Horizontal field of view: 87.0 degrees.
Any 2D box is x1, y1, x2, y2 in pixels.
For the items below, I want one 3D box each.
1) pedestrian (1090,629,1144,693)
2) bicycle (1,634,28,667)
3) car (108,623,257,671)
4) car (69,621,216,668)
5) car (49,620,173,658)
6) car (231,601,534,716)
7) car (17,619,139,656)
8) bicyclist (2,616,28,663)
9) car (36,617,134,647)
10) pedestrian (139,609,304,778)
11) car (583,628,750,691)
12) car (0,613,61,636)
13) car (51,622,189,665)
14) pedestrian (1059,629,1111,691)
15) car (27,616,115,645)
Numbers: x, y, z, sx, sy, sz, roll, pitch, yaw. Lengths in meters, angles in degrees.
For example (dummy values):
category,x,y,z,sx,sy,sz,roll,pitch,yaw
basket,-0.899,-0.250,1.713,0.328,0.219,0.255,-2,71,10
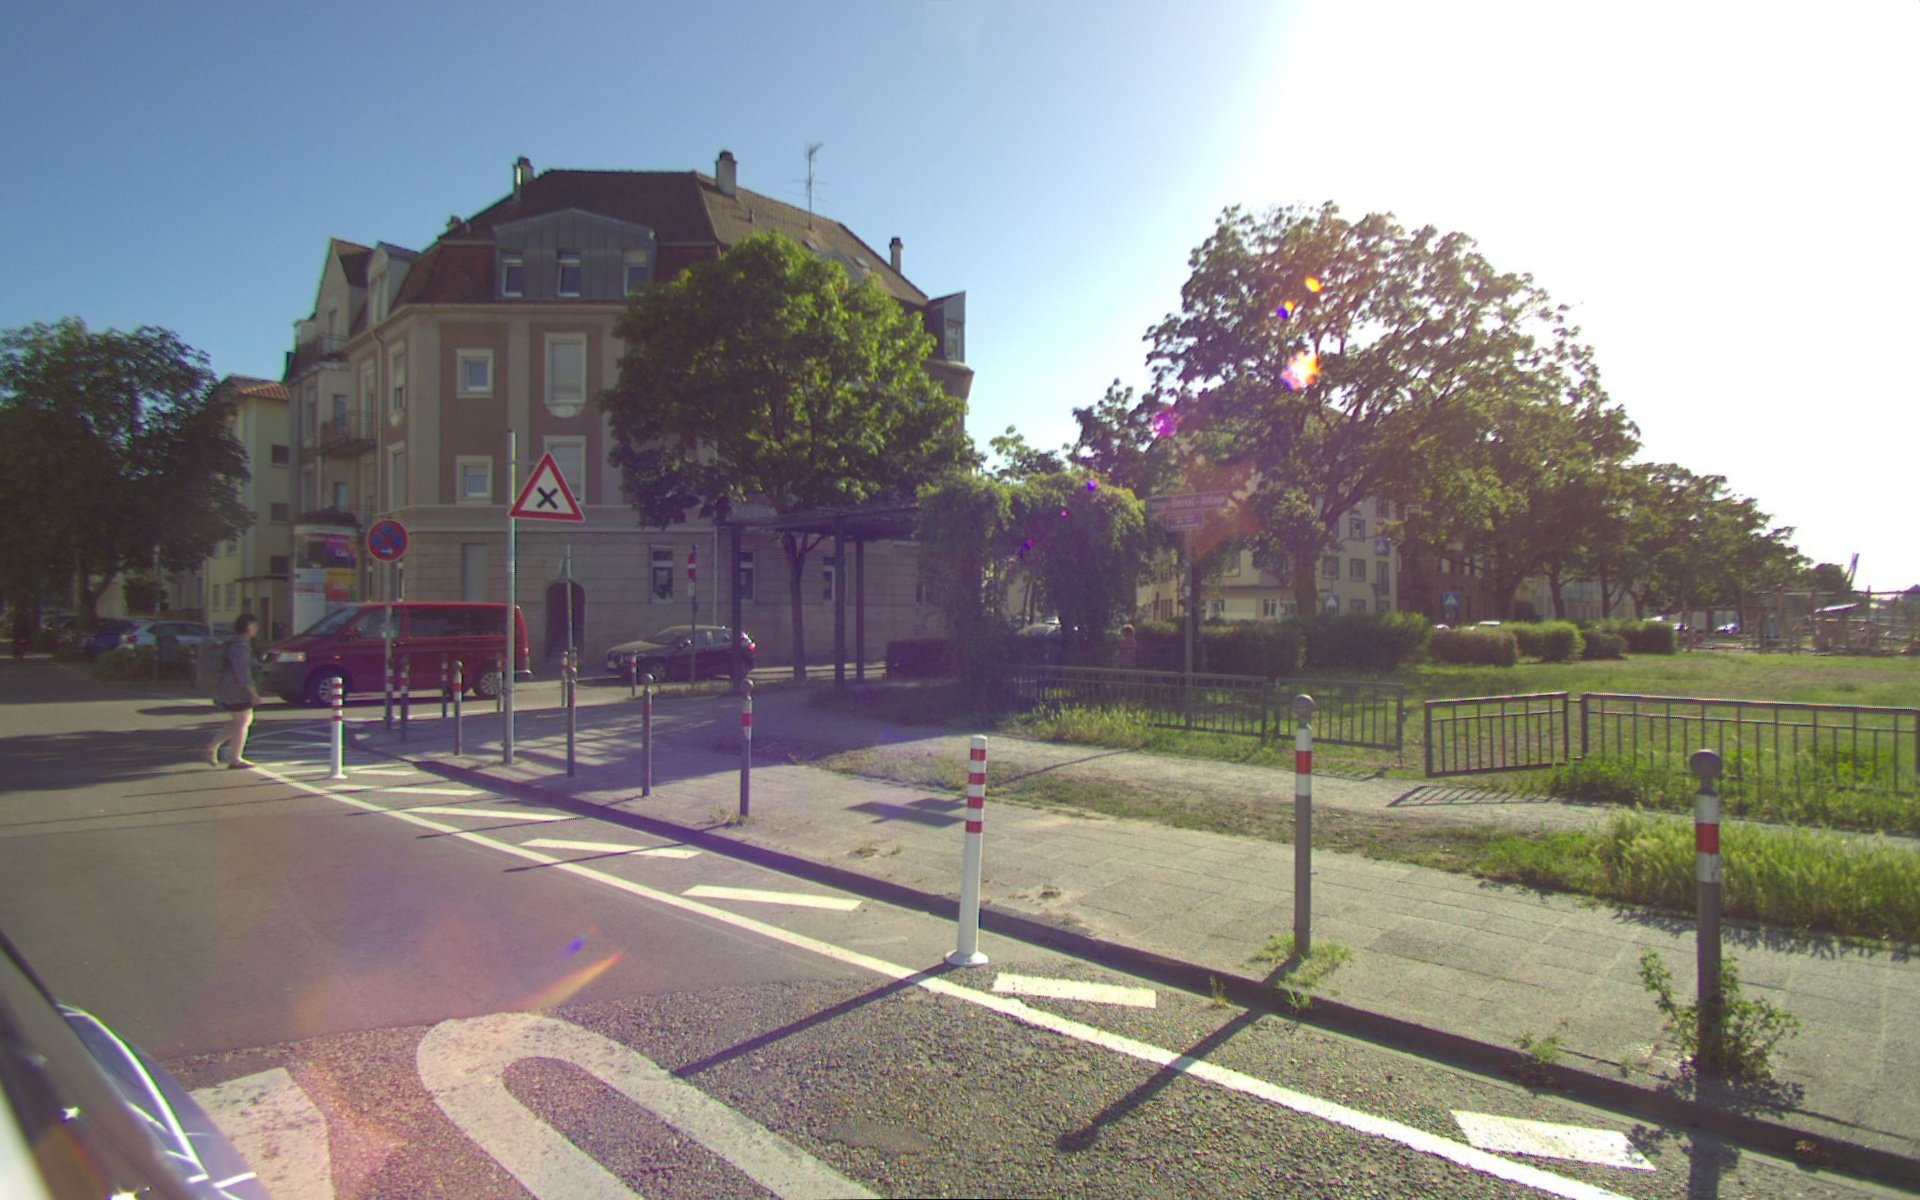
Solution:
category,x,y,z,sx,sy,sz,roll,pitch,yaw
pedestrian,2.919,1.120,18.821,0.862,1.147,0.599,2,-2,-45
bicycle,-33.714,1.783,36.083,0.635,1.117,2.066,2,-2,-45
car,-26.192,1.530,34.173,1.691,1.455,3.739,-1,-1,41
car,-28.306,1.496,35.122,1.691,1.506,3.739,-1,-1,41
car,-36.208,1.637,43.264,1.686,1.506,3.751,-1,-1,31
car,-11.234,1.061,19.985,1.896,1.975,4.819,1,-1,41
car,-39.009,1.635,44.835,1.686,1.506,3.751,-1,-1,31
bicyclist,-33.663,1.404,36.036,0.635,1.632,0.637,2,-2,-45
car,-46.449,1.673,53.781,1.690,1.506,3.742,-1,-1,39
pedestrian,-7.895,0.965,10.853,0.909,1.687,1.080,-1,-3,27
car,-7.960,1.558,27.697,1.867,1.494,3.960,3,1,41
car,-72.894,1.896,79.327,1.692,1.716,3.481,-1,-1,42
car,-32.014,1.611,38.675,1.686,1.506,3.751,-1,-1,31
pedestrian,2.388,1.132,19.299,0.833,1.158,0.599,2,-2,-45
car,-49.720,1.673,56.620,1.690,1.506,3.484,-1,-1,39
